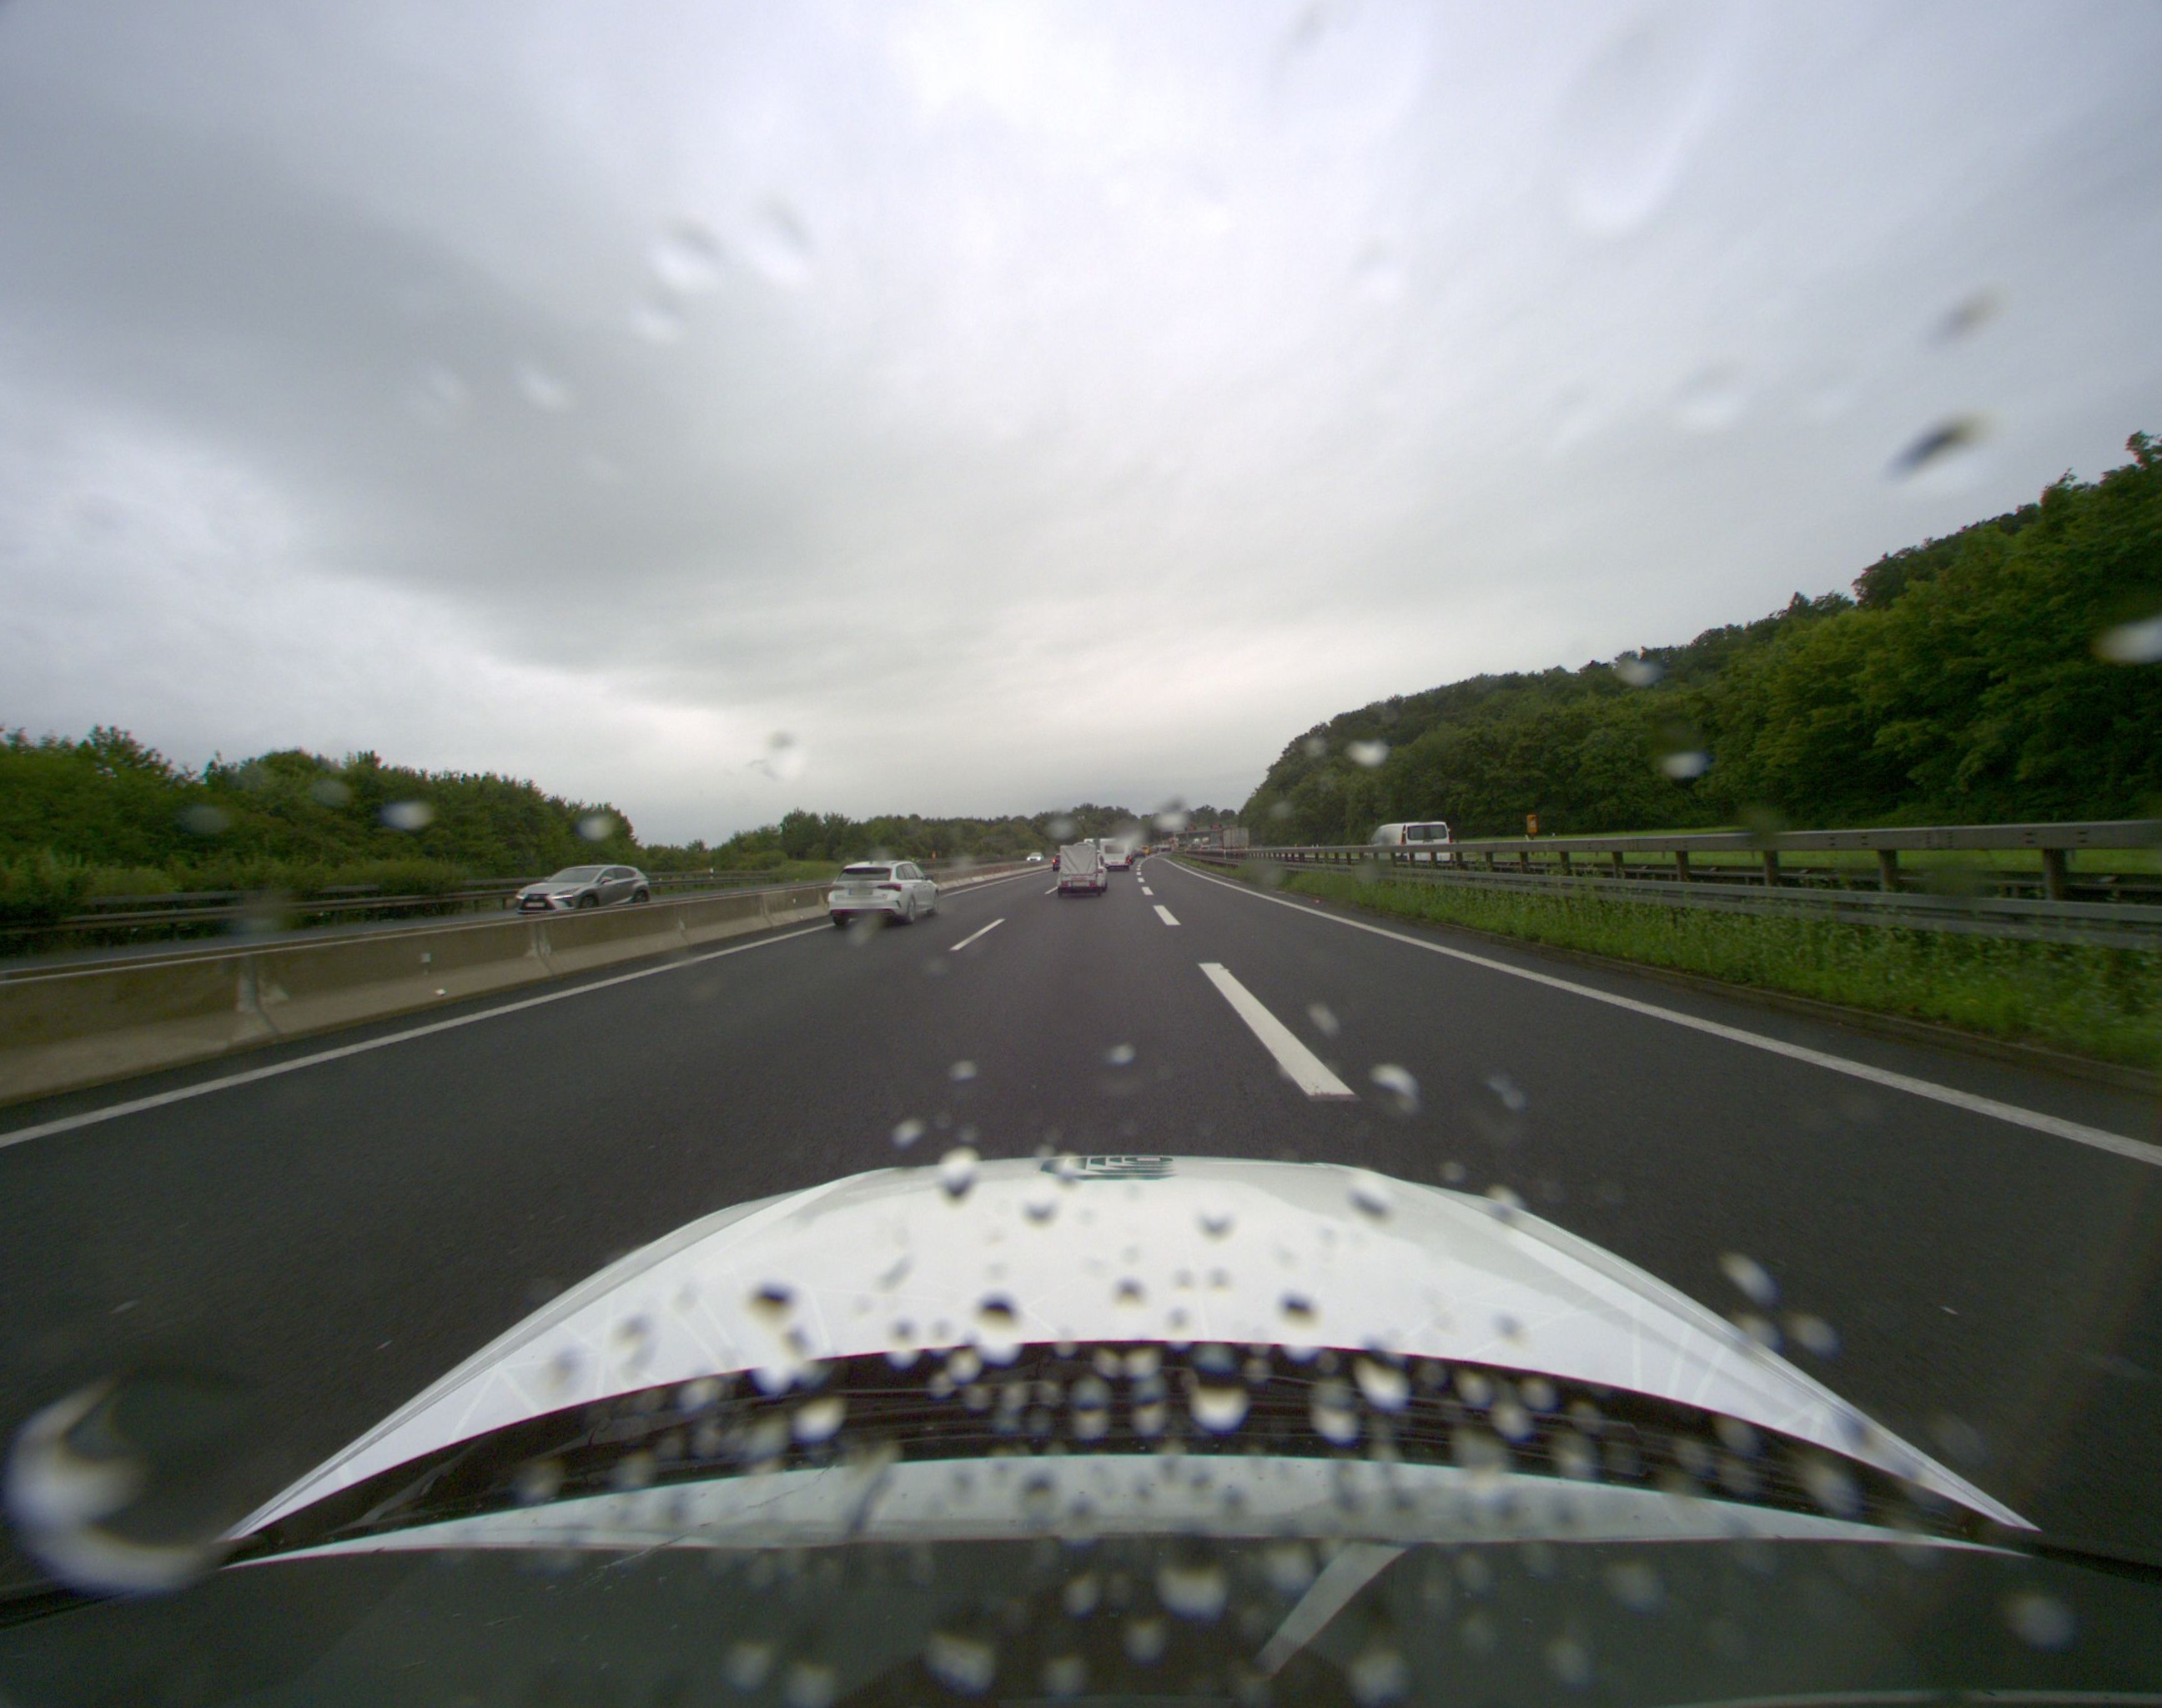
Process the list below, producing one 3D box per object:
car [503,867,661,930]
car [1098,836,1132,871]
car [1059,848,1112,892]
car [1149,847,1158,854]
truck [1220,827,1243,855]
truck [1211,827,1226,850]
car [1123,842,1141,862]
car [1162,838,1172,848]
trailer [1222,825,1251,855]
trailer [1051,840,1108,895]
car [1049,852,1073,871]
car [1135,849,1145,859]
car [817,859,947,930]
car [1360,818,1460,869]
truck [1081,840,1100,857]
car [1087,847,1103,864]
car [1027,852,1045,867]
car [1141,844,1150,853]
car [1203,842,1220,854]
[{"bbox_3d":[-15.182,1.279,25.139,1.884,1.650,4.604,-2,0,2],"label":"car"},{"bbox_3d":[2.795,-0.039,65.358,2.497,2.585,5.704,-2,0,3],"label":"car"},{"bbox_3d":[0.267,0.619,33.325,1.810,1.616,4.783,-2,0,4],"label":"car"},{"bbox_3d":[17.296,-0.806,194.571,2.027,1.683,4.007,-2,0,6],"label":"car"},{"bbox_3d":[22.108,-1.891,119.988,2.604,3.884,6.400,-2,-1,5],"label":"truck"},{"bbox_3d":[31.169,-3.413,184.761,3.196,4.666,13.066,-2,0,9],"label":"truck"},{"bbox_3d":[5.570,-0.240,89.620,1.670,2.067,3.999,-2,-1,0],"label":"car"},{"bbox_3d":[24.393,-3.184,230.253,2.500,2.574,5.327,-2,-1,10],"label":"car"},{"bbox_3d":[21.502,-1.838,113.531,2.592,3.894,12.507,-2,0,5],"label":"trailer"},{"bbox_3d":[0.010,0.460,29.818,1.668,1.812,4.005,-2,0,4],"label":"trailer"},{"bbox_3d":[-1.692,0.626,69.545,1.669,1.456,4.002,-2,0,2],"label":"car"},{"bbox_3d":[10.382,0.021,143.408,1.668,1.812,4.005,-2,0,4],"label":"car"},{"bbox_3d":[-4.659,0.881,19.848,1.812,1.456,4.779,-2,0,2],"label":"car"},{"bbox_3d":[11.998,-0.340,30.065,1.901,1.693,4.722,-2,0,3],"label":"car"},{"bbox_3d":[2.475,-1.273,205.198,2.771,4.092,12.329,-2,0,9],"label":"truck"},{"bbox_3d":[1.805,0.199,103.095,1.986,1.918,4.001,-2,0,2],"label":"car"},{"bbox_3d":[-6.100,0.713,110.186,1.729,1.919,4.323,-2,0,5],"label":"car"},{"bbox_3d":[13.643,-1.054,171.941,1.666,1.812,4.009,-2,0,8],"label":"car"},{"bbox_3d":[16.489,-0.757,102.944,1.660,1.382,4.130,-4,0,3],"label":"car"}]
